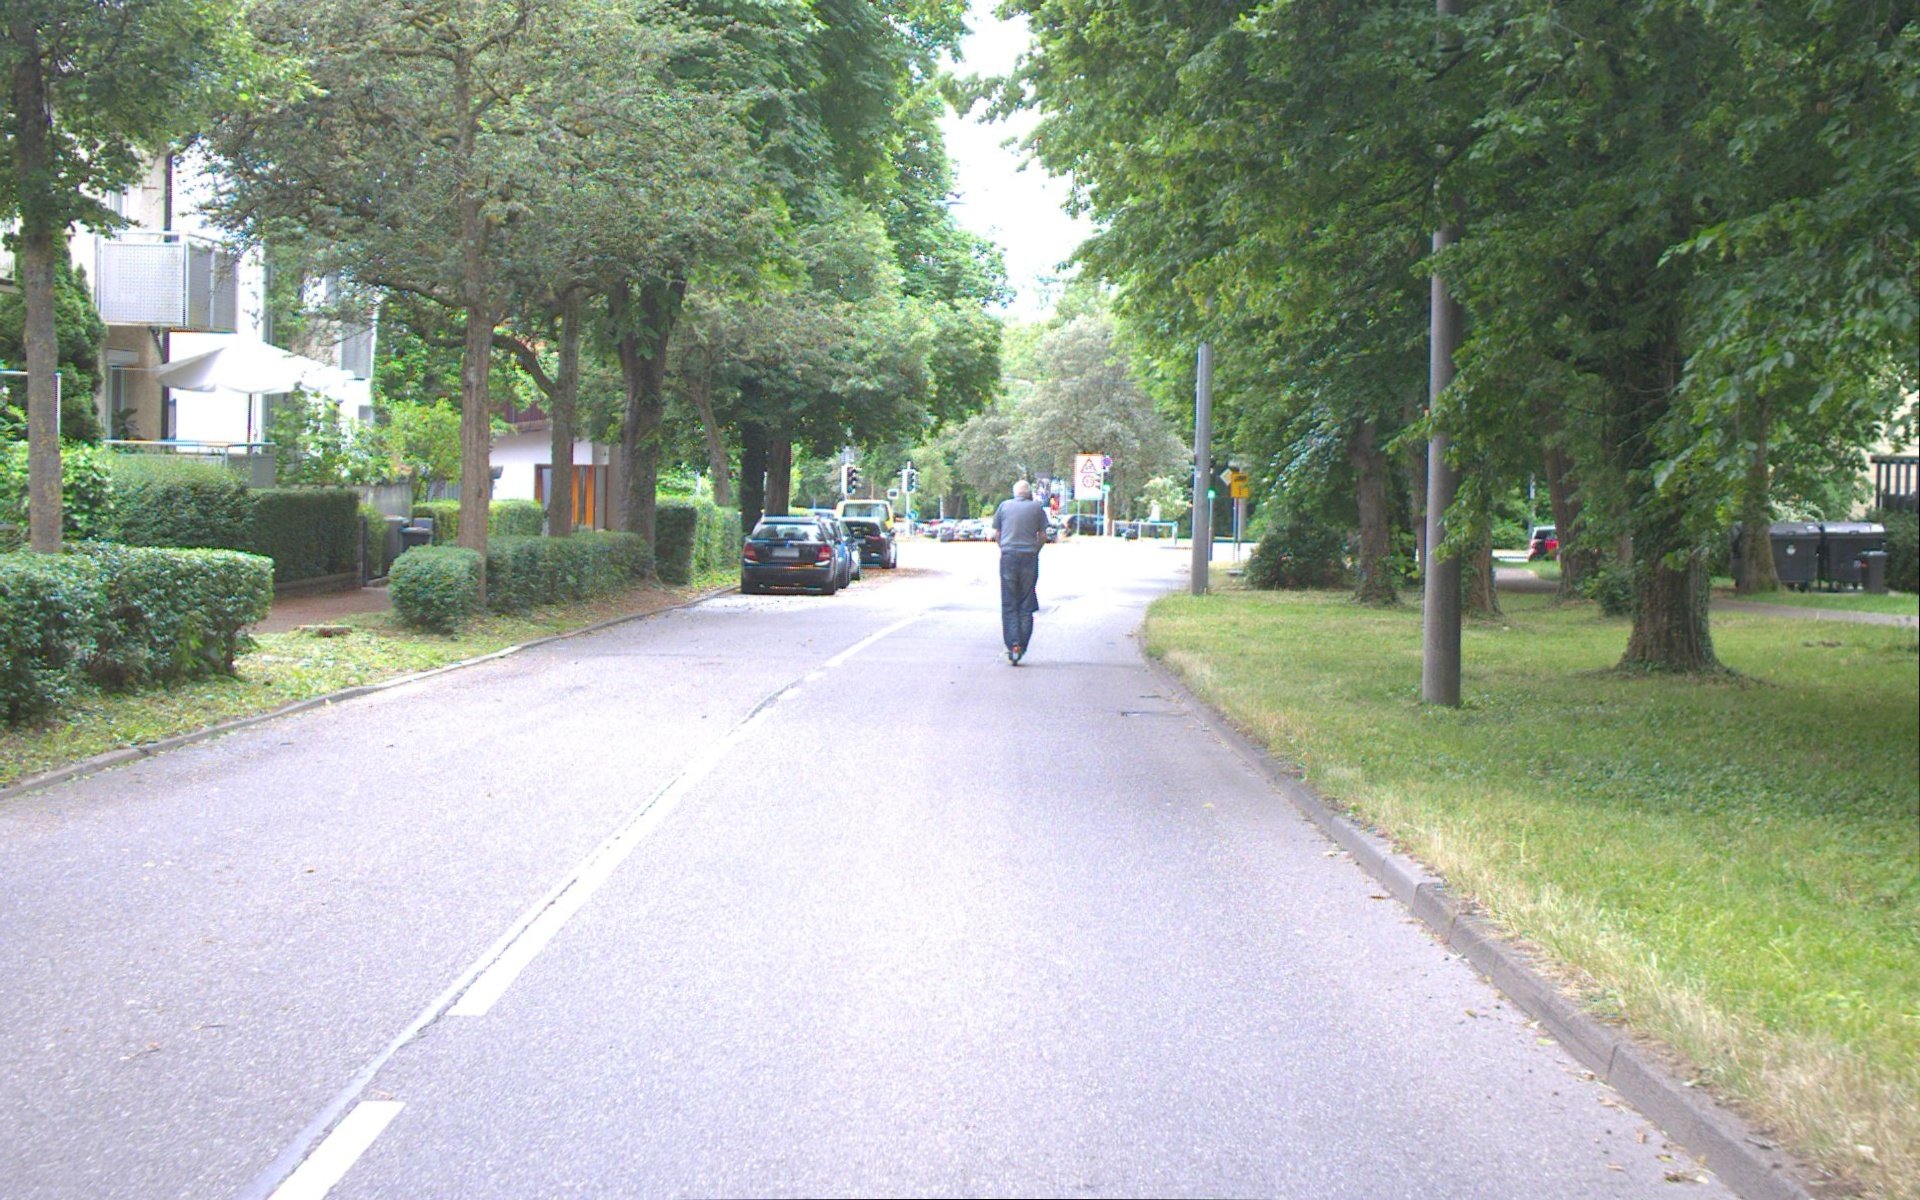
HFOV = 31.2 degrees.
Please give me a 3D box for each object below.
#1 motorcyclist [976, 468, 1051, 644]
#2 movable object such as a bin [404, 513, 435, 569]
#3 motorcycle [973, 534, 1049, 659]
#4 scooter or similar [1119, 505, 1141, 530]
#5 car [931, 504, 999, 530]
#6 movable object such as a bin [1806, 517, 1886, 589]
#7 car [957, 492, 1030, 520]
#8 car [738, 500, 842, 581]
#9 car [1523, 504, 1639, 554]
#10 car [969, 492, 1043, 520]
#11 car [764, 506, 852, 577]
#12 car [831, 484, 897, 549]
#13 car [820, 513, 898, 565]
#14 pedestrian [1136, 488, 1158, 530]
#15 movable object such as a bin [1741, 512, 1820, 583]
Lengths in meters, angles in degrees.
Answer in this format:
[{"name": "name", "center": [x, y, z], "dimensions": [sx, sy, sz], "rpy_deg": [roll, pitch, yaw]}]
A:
[{"name": "motorcyclist", "center": [0.550, -0.452, 35.045], "dimensions": [0.673, 1.755, 0.639], "rpy_deg": [3, 1, 3]}, {"name": "movable object such as a bin", "center": [-8.878, -0.970, 56.476], "dimensions": [0.456, 0.912, 0.508], "rpy_deg": [0, 1, -5]}, {"name": "motorcycle", "center": [0.522, -0.047, 34.798], "dimensions": [0.673, 1.213, 1.274], "rpy_deg": [3, 1, 3]}, {"name": "scooter or similar", "center": [7.110, -3.466, 143.987], "dimensions": [0.711, 1.045, 0.786], "rpy_deg": [1, 1, 21]}, {"name": "car", "center": [0.268, -4.915, 204.520], "dimensions": [3.987, 1.505, 1.800], "rpy_deg": [1, 1, -1]}, {"name": "movable object such as a bin", "center": [18.828, -1.009, 73.073], "dimensions": [1.326, 1.496, 1.315], "rpy_deg": [0, 1, -1]}, {"name": "car", "center": [1.823, -5.165, 189.681], "dimensions": [3.987, 1.505, 1.800], "rpy_deg": [1, 1, -1]}, {"name": "car", "center": [-3.188, -1.140, 65.029], "dimensions": [1.794, 1.467, 4.418], "rpy_deg": [1, 1, -1]}, {"name": "car", "center": [22.565, -2.585, 124.857], "dimensions": [3.990, 1.551, 1.799], "rpy_deg": [3, 5, 14]}, {"name": "car", "center": [2.513, -5.121, 187.761], "dimensions": [3.987, 1.505, 1.800], "rpy_deg": [1, 1, -1]}, {"name": "car", "center": [-3.079, -1.214, 70.156], "dimensions": [1.664, 1.387, 3.707], "rpy_deg": [1, 1, -1]}, {"name": "car", "center": [-3.006, -2.583, 106.966], "dimensions": [1.857, 1.957, 4.505], "rpy_deg": [0, 1, -4]}, {"name": "car", "center": [-2.808, -1.692, 96.198], "dimensions": [1.892, 1.405, 4.554], "rpy_deg": [1, 1, 2]}, {"name": "pedestrian", "center": [7.826, -3.804, 143.725], "dimensions": [0.733, 1.755, 0.661], "rpy_deg": [1, 1, 21]}, {"name": "movable object such as a bin", "center": [17.410, -1.116, 72.970], "dimensions": [1.326, 1.496, 1.315], "rpy_deg": [0, 1, -1]}]
